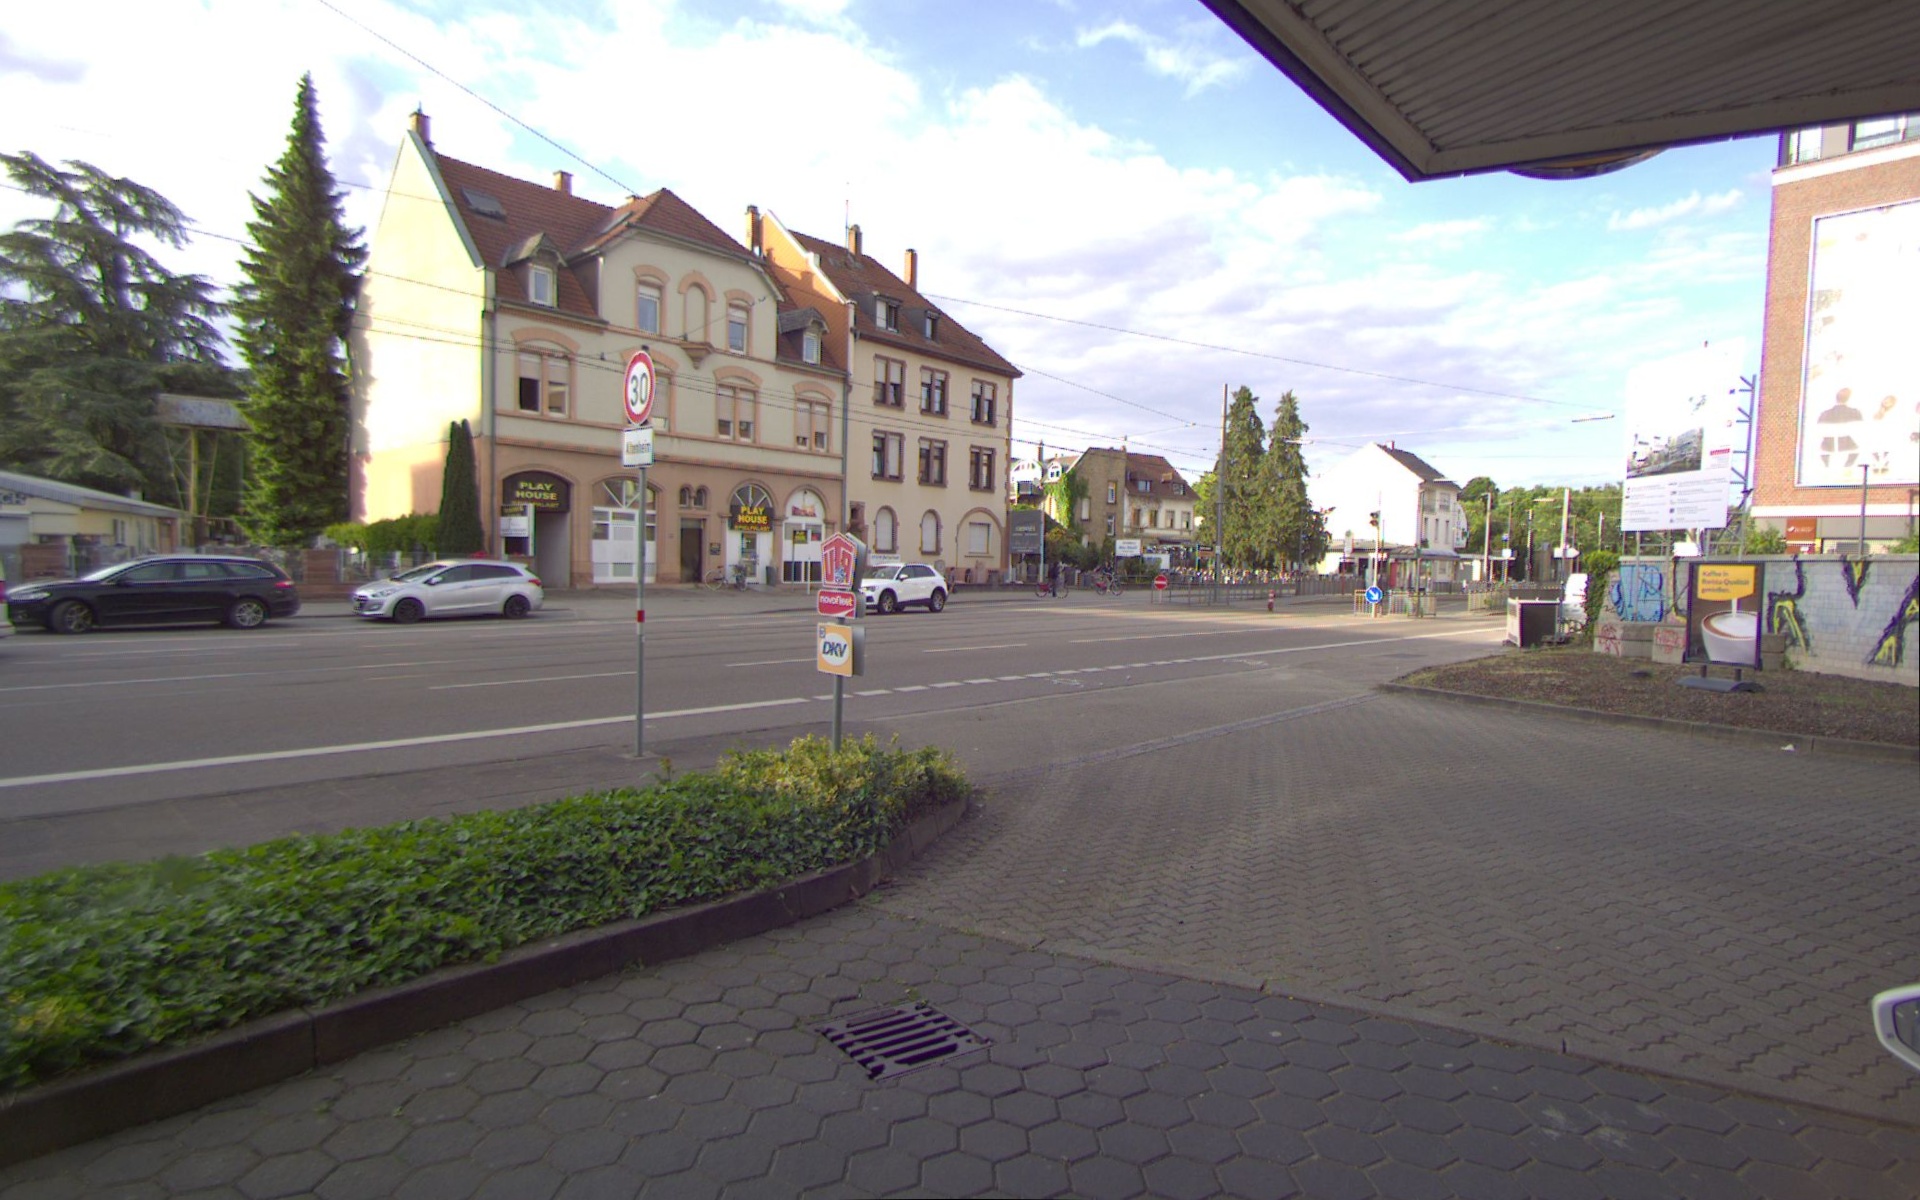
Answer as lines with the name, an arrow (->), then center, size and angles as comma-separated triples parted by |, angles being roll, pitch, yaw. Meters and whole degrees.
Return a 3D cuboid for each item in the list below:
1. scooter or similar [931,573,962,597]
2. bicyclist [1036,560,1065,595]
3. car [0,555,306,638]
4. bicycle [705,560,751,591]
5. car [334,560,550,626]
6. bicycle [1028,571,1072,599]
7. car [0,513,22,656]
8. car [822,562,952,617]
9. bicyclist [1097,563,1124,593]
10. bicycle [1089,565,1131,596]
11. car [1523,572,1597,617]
scooter or similar -> -0.598, -0.687, 45.131 | 0.488, 1.015, 1.592 | 5, 5, 39
bicyclist -> 4.376, -1.102, 48.525 | 0.953, 1.579, 0.839 | 1, 6, -31
car -> -16.572, -0.145, 20.728 | 1.970, 1.516, 4.801 | 3, 3, 40
bicycle -> -9.144, -0.952, 39.705 | 0.508, 1.189, 1.809 | 4, 2, 40
car -> -13.003, -0.243, 25.460 | 1.970, 1.495, 4.467 | 3, 3, 40
bicycle -> 4.347, -0.711, 48.570 | 1.884, 1.219, 0.839 | 1, 6, -31
car -> -15.462, -0.199, 12.749 | 1.967, 1.995, 4.873 | 2, 3, 35
car -> -2.207, -0.379, 31.671 | 1.810, 1.598, 4.368 | 1, 2, 34
bicyclist -> 7.957, -1.179, 53.044 | 1.079, 1.512, 0.785 | 2, 4, -20
bicycle -> 7.903, -1.045, 53.034 | 1.962, 1.512, 0.785 | 2, 4, -21
car -> 27.340, -0.250, 45.705 | 1.941, 1.915, 4.385 | 4, 3, 43
